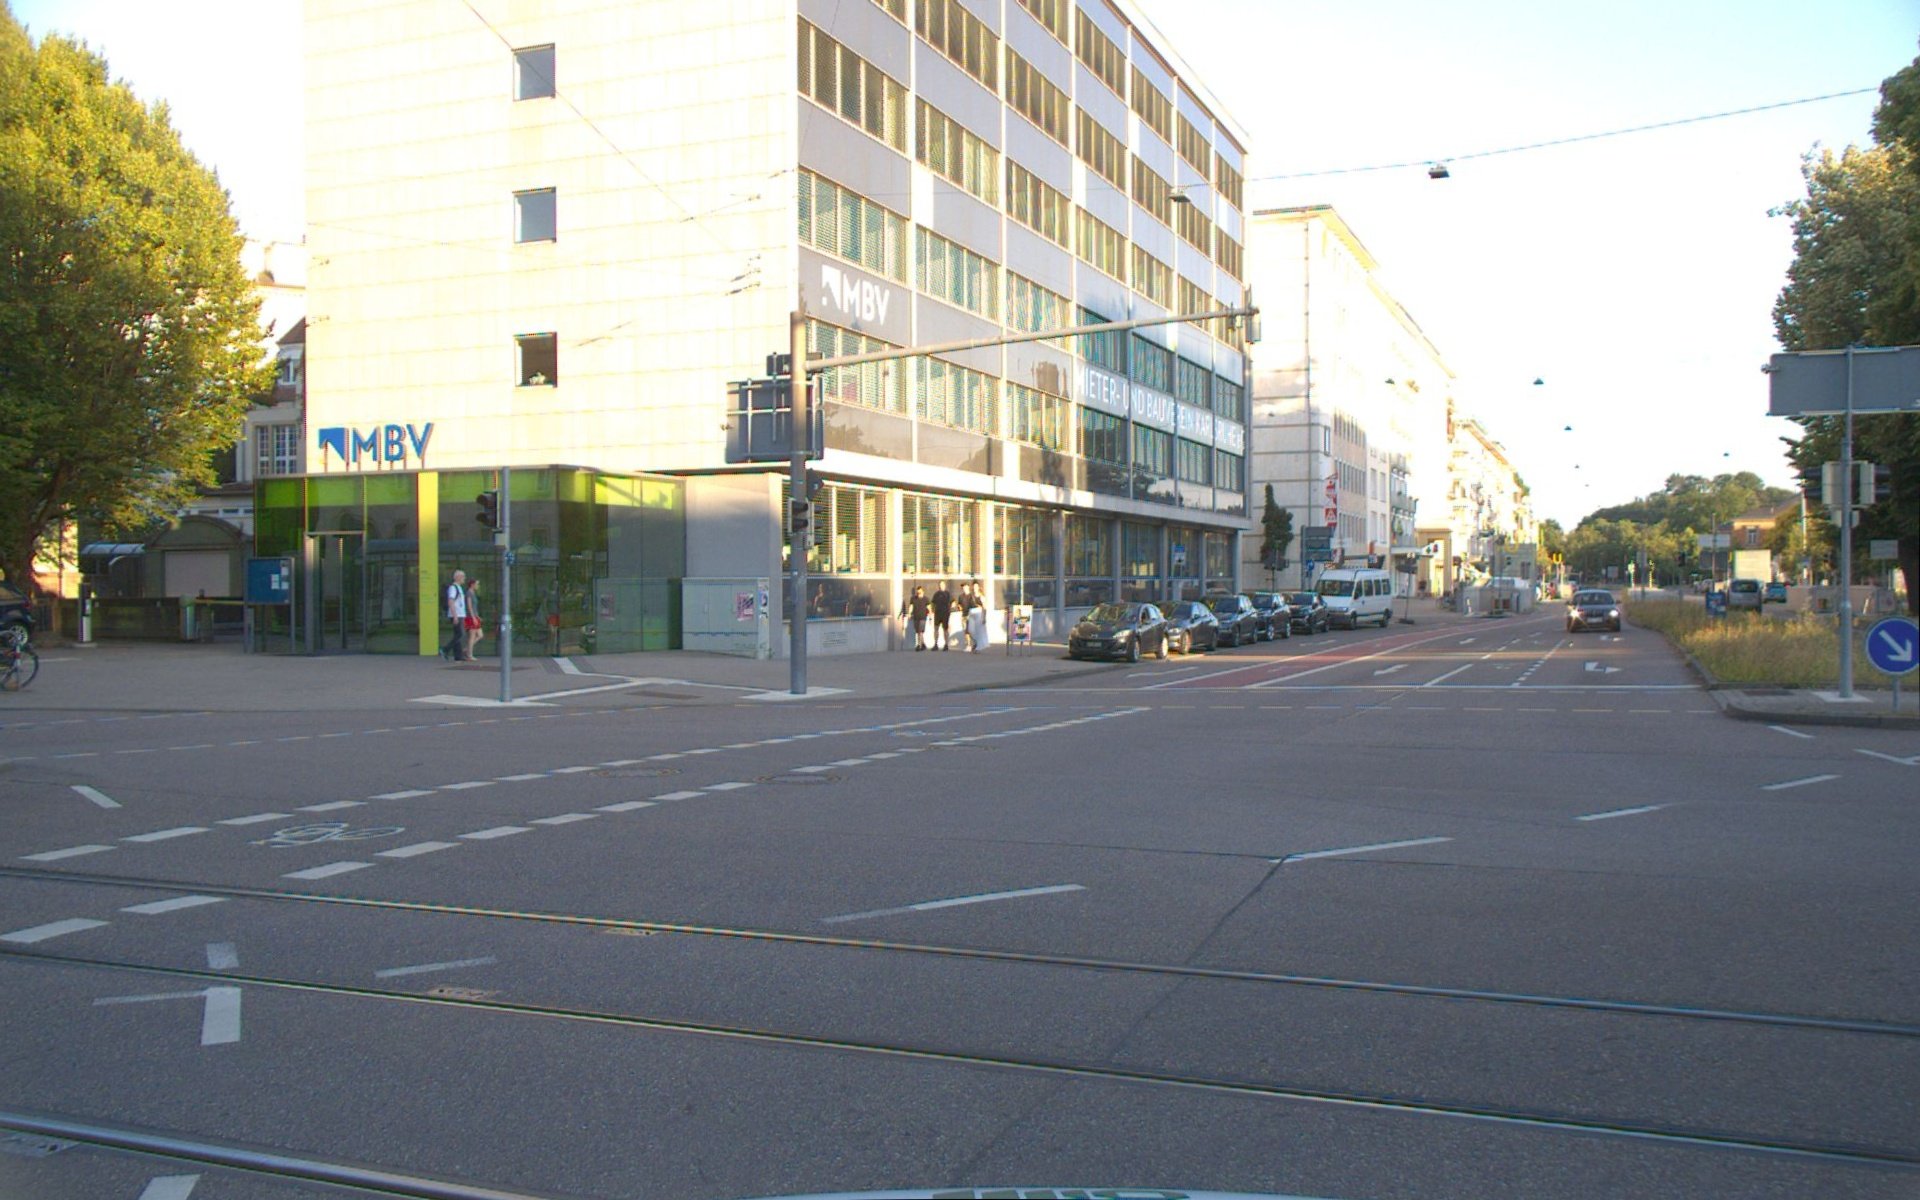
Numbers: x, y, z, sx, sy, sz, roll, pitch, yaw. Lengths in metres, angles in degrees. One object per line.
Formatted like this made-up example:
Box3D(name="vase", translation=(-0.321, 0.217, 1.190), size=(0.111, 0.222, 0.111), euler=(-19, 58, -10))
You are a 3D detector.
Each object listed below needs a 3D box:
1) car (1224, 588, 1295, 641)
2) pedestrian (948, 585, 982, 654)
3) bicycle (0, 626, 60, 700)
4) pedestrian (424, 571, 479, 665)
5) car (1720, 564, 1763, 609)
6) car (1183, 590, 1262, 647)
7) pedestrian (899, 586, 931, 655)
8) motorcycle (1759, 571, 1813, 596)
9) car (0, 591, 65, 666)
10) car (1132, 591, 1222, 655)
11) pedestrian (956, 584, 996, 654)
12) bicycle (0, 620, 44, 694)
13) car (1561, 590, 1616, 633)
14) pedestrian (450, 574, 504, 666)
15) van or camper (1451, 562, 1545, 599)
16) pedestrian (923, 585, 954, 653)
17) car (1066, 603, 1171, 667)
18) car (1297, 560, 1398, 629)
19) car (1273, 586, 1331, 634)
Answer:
Box3D(name="car", translation=(10.612, 0.468, 58.408), size=(1.659, 1.693, 3.868), euler=(3, 2, 22))
Box3D(name="pedestrian", translation=(0.140, 0.513, 43.892), size=(0.723, 1.799, 0.673), euler=(-1, 0, 18))
Box3D(name="bicycle", translation=(-15.042, 0.982, 25.548), size=(0.730, 1.093, 1.857), euler=(0, 1, 39))
Box3D(name="pedestrian", translation=(-9.800, 0.341, 31.889), size=(0.718, 1.799, 0.708), euler=(-1, 0, 23))
Box3D(name="car", translation=(40.732, -0.693, 86.241), size=(1.846, 2.277, 3.909), euler=(-1, 0, 23))
Box3D(name="car", translation=(8.523, 0.563, 53.546), size=(1.659, 1.693, 3.868), euler=(3, 2, 22))
Box3D(name="pedestrian", translation=(-1.188, 0.529, 43.363), size=(0.639, 1.799, 0.646), euler=(-1, 0, 18))
Box3D(name="motorcycle", translation=(59.286, -1.178, 118.713), size=(3.418, 1.785, 0.925), euler=(-1, 0, 26))
Box3D(name="car", translation=(-21.582, 0.627, 35.501), size=(1.761, 1.601, 3.997), euler=(0, 1, 22))
Box3D(name="car", translation=(6.409, 0.624, 48.515), size=(1.659, 1.693, 3.868), euler=(3, 2, 22))
Box3D(name="pedestrian", translation=(0.417, 0.496, 42.917), size=(0.823, 1.799, 0.786), euler=(-1, 0, 18))
Box3D(name="bicycle", translation=(-15.833, 0.939, 26.275), size=(0.727, 1.152, 2.237), euler=(0, 1, 24))
Box3D(name="car", translation=(22.608, 0.401, 59.410), size=(1.659, 1.445, 4.172), euler=(-1, 1, 23))
Box3D(name="pedestrian", translation=(-9.505, 0.389, 32.542), size=(0.729, 1.799, 0.708), euler=(-1, 0, 23))
Box3D(name="van or camper", translation=(35.234, -1.266, 108.412), size=(5.404, 2.204, 2.241), euler=(-2, 0, -8))
Box3D(name="pedestrian", translation=(-0.574, 0.501, 44.103), size=(0.639, 1.799, 0.646), euler=(-1, 0, 18))
Box3D(name="car", translation=(4.161, 0.870, 42.930), size=(1.659, 1.435, 3.868), euler=(3, 2, 22))
Box3D(name="car", translation=(16.422, -0.220, 69.825), size=(2.198, 2.674, 5.837), euler=(4, 2, 32))
Box3D(name="car", translation=(13.263, 0.355, 64.024), size=(1.468, 1.693, 3.868), euler=(3, 2, 22))
